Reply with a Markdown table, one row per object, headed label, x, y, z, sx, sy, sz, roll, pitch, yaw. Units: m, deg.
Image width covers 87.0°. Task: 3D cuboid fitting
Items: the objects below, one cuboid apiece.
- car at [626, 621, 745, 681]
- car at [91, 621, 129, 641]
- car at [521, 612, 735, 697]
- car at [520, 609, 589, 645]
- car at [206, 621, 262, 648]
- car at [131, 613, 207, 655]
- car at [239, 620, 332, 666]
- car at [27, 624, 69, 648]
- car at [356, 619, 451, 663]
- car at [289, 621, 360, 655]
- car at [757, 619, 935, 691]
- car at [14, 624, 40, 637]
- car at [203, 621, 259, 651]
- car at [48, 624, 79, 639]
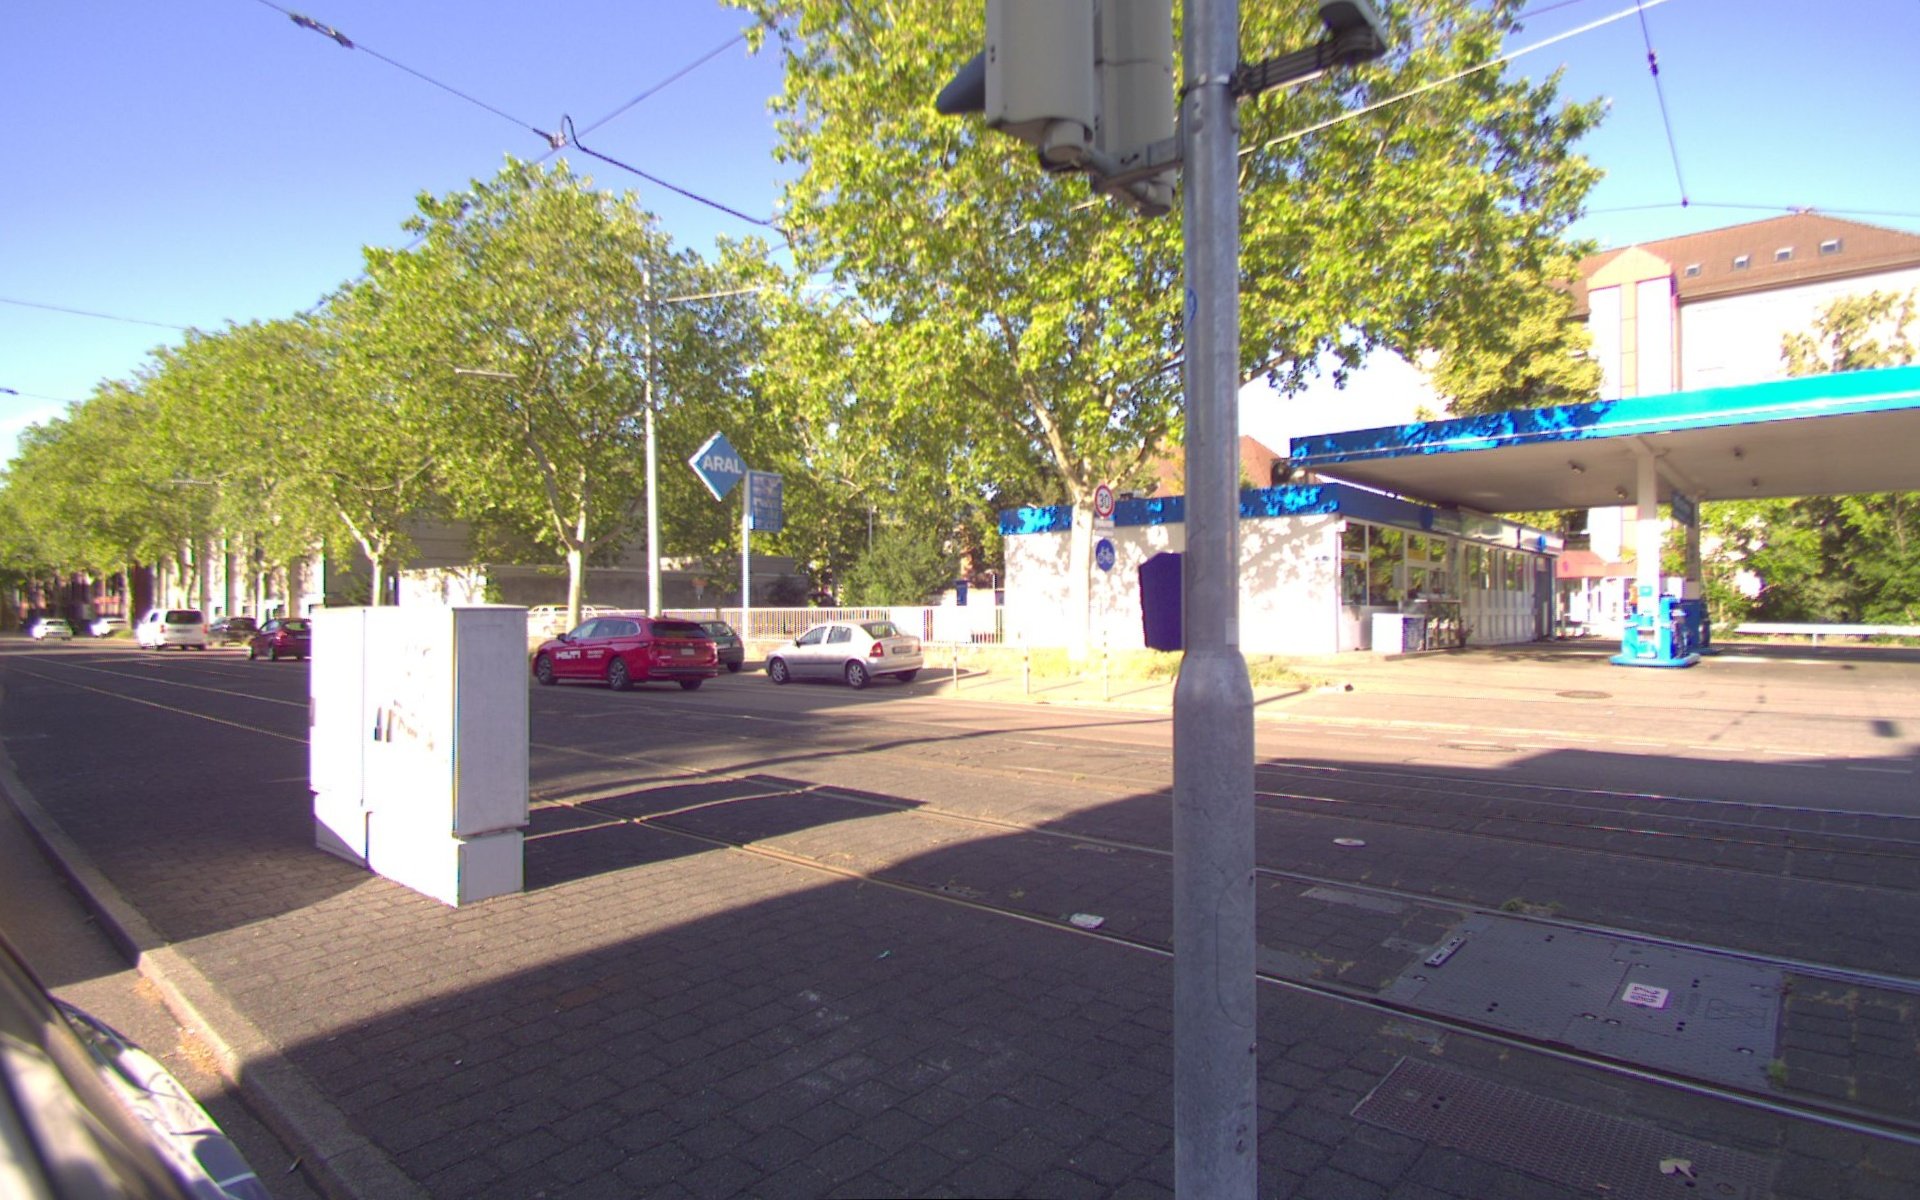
| label | x | y | z | sx | sy | sz | roll | pitch | yaw |
| --- | --- | --- | --- | --- | --- | --- | --- | --- | --- |
| car | -7.312 | 1.304 | 26.855 | 3.253 | 1.431 | 1.526 | -1 | 0 | 41 |
| car | -66.809 | 2.418 | 79.550 | 3.998 | 1.569 | 1.678 | -1 | -2 | 41 |
| car | -6.815 | 1.033 | 20.520 | 4.761 | 1.534 | 1.887 | -1 | -2 | 40 |
| car | -16.851 | 1.099 | 41.996 | 3.151 | 1.431 | 1.525 | -1 | 0 | 44 |
| car | -40.598 | 1.891 | 56.578 | 3.998 | 1.420 | 1.678 | -1 | -2 | 41 |
| car | -36.521 | 1.526 | 46.703 | 4.390 | 1.860 | 1.827 | -1 | -2 | 39 |
| car | -23.082 | 1.418 | 34.573 | 3.998 | 1.431 | 1.678 | -1 | 0 | 41 |
| car | -63.010 | 2.481 | 69.910 | 3.998 | 1.507 | 1.741 | -1 | 0 | 41 |
| car | -22.114 | 1.585 | 40.144 | 4.431 | 1.534 | 1.731 | -1 | 3 | 40 |
| car | -29.040 | 1.703 | 46.196 | 3.998 | 1.480 | 1.678 | -1 | -2 | 41 |
| car | -2.614 | 1.163 | 22.636 | 3.998 | 1.431 | 1.709 | -1 | 0 | 41 |
| car | -103.226 | 3.394 | 111.975 | 3.998 | 1.420 | 1.678 | -1 | -2 | 41 |
| car | -40.733 | 1.983 | 56.537 | 3.998 | 1.587 | 1.678 | -1 | -2 | 41 |
| car | -85.179 | 2.978 | 96.167 | 3.998 | 1.420 | 1.678 | -1 | -2 | 41 |
